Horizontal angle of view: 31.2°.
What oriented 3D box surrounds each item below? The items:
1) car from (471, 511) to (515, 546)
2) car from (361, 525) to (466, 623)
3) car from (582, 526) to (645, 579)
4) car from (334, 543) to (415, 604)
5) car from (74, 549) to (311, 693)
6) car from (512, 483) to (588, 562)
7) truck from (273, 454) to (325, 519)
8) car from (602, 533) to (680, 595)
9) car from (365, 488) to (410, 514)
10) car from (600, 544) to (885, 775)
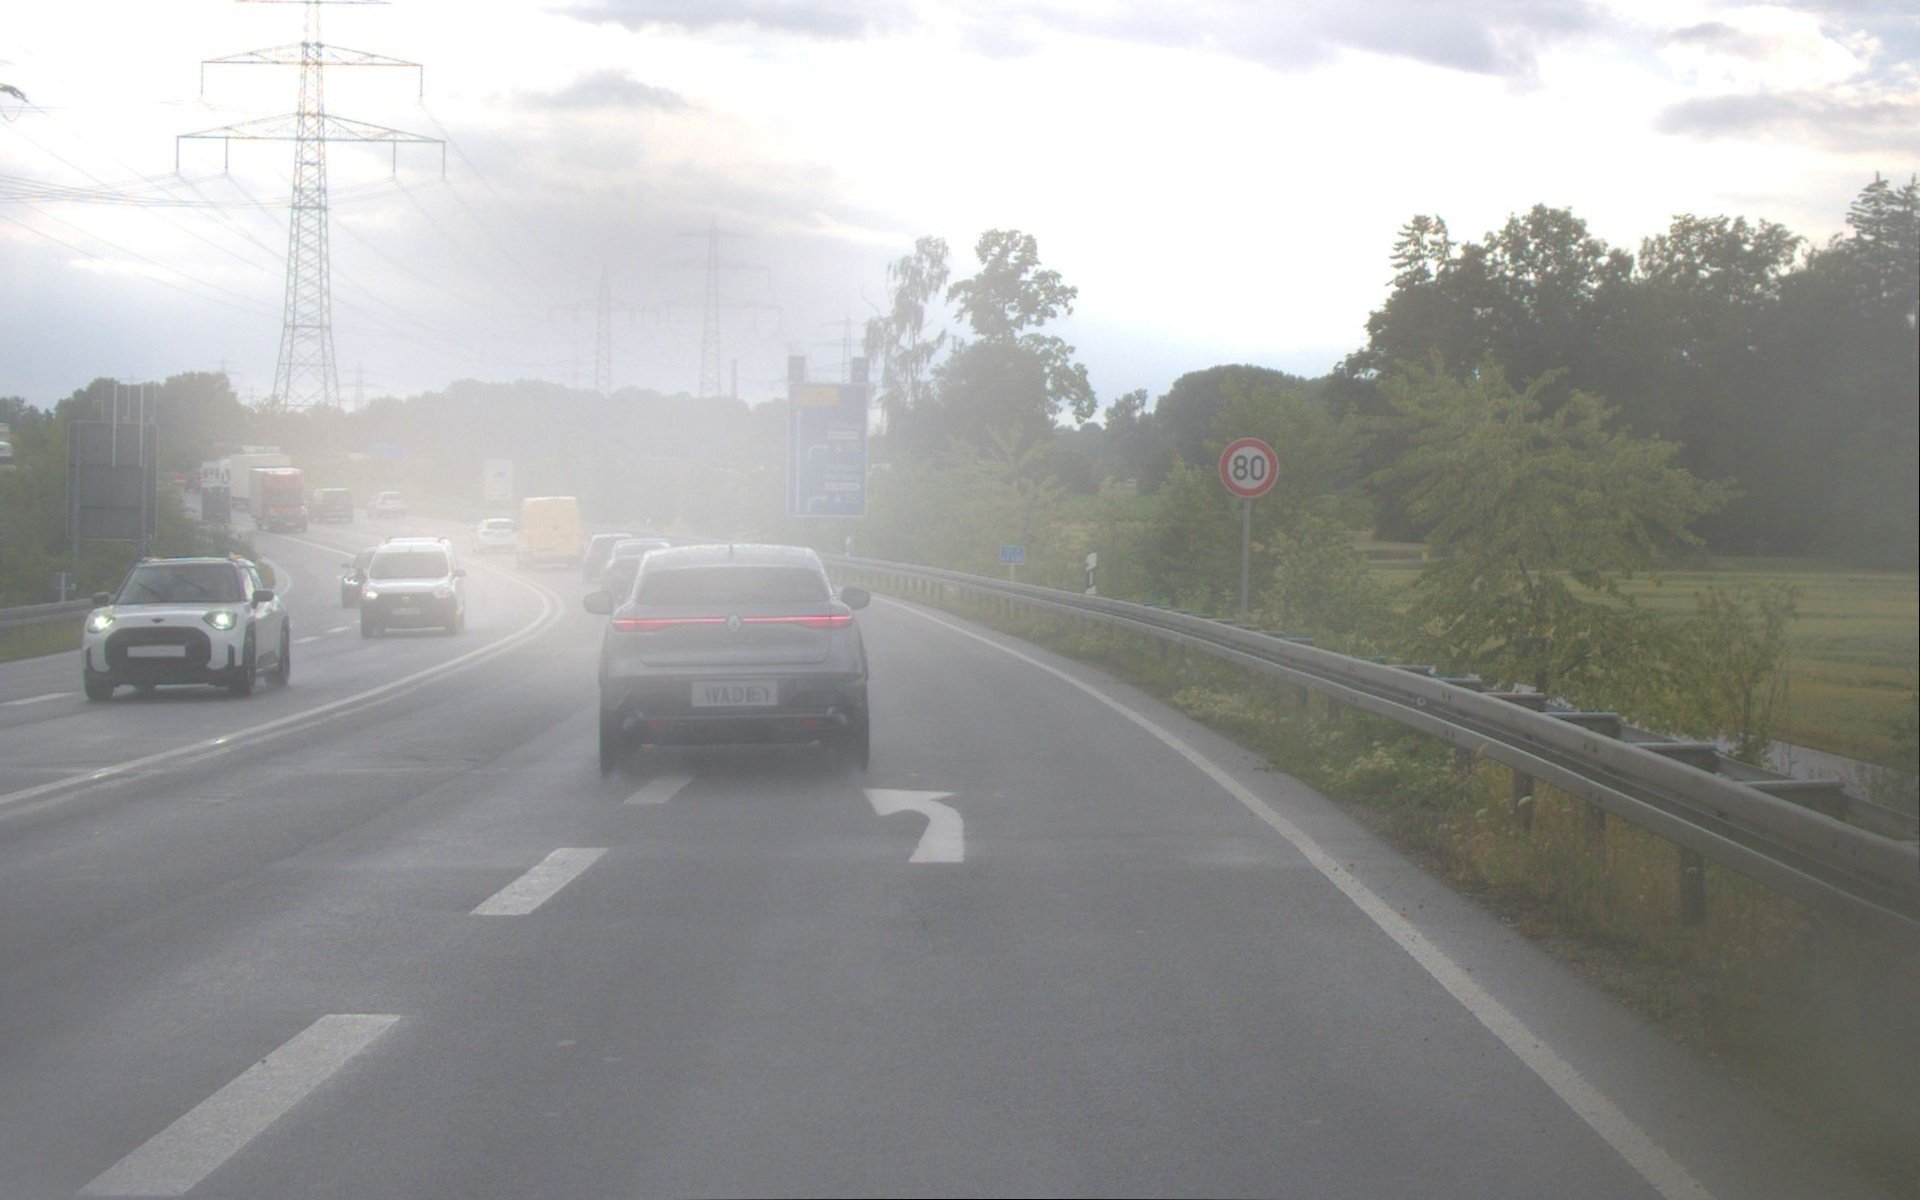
[{"bbox_3d":[-19.626,-2.988,144.395,1.791,1.436,4.001,-1,1,-8],"label":"car"},{"bbox_3d":[-10.112,-0.507,63.465,1.789,1.660,4.371,2,1,-10],"label":"car"},{"bbox_3d":[-10.313,-1.421,102.160,1.791,1.536,4.001,0,1,-7],"label":"car"},{"bbox_3d":[-14.740,-0.674,86.714,1.895,1.436,4.901,2,0,-9],"label":"car"},{"bbox_3d":[-8.466,0.189,38.255,1.766,1.495,4.210,0,1,-1],"label":"car"},{"bbox_3d":[-14.514,-2.733,121.650,2.572,2.716,7.198,-1,1,-7],"label":"car"},{"bbox_3d":[-35.627,-6.112,185.263,2.480,3.280,7.283,3,1,-11],"label":"truck"},{"bbox_3d":[-7.782,-0.886,83.675,1.791,1.436,4.001,1,1,-6],"label":"car"},{"bbox_3d":[-33.629,-5.833,201.852,1.791,1.436,4.001,2,1,-22],"label":"car"},{"bbox_3d":[-1.495,0.339,23.728,1.791,1.436,4.001,-1,1,-4],"label":"car"}]
